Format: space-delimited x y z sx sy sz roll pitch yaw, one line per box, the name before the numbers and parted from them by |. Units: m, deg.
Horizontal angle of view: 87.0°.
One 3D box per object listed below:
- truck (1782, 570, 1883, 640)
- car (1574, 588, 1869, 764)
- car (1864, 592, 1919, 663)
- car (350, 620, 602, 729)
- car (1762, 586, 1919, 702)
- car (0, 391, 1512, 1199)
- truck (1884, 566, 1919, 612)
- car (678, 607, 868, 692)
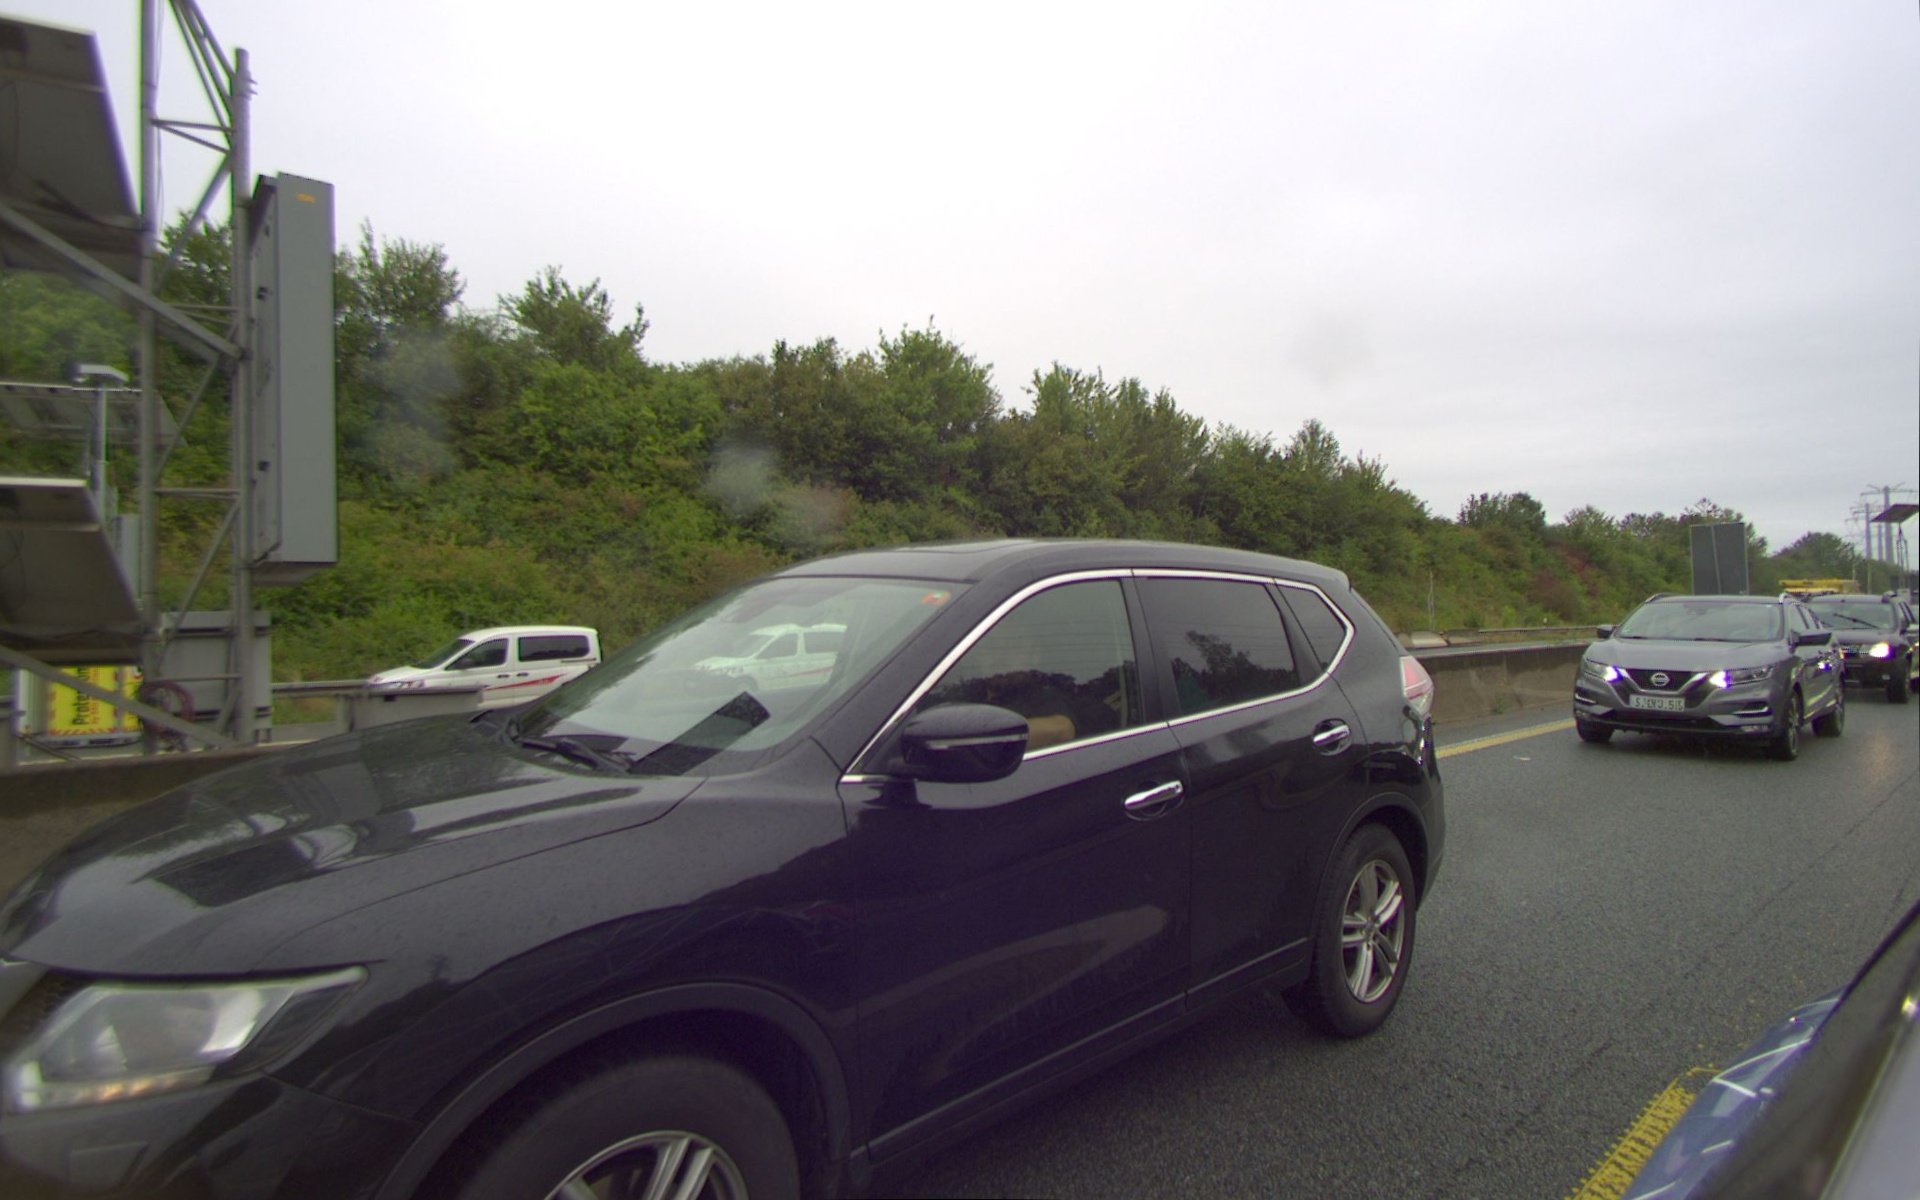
truck | 46.600 0.178 53.932 9.405 3.467 2.618 -1 0 -40
car | 8.194 0.634 10.757 4.053 1.509 1.782 -1 1 -42
car | 22.140 0.577 23.130 4.053 1.509 1.782 -1 1 -42
car | -9.456 1.359 19.967 4.195 1.780 1.731 -1 1 -42
car | 14.430 0.595 16.255 4.053 1.618 1.782 -1 1 -42
car | -0.098 0.592 3.245 4.561 1.696 1.892 -1 1 -42
truck | 75.482 -0.862 79.319 9.405 3.467 3.328 -1 0 -40
car | -4.429 1.115 24.381 4.255 1.792 1.731 -1 1 -42
